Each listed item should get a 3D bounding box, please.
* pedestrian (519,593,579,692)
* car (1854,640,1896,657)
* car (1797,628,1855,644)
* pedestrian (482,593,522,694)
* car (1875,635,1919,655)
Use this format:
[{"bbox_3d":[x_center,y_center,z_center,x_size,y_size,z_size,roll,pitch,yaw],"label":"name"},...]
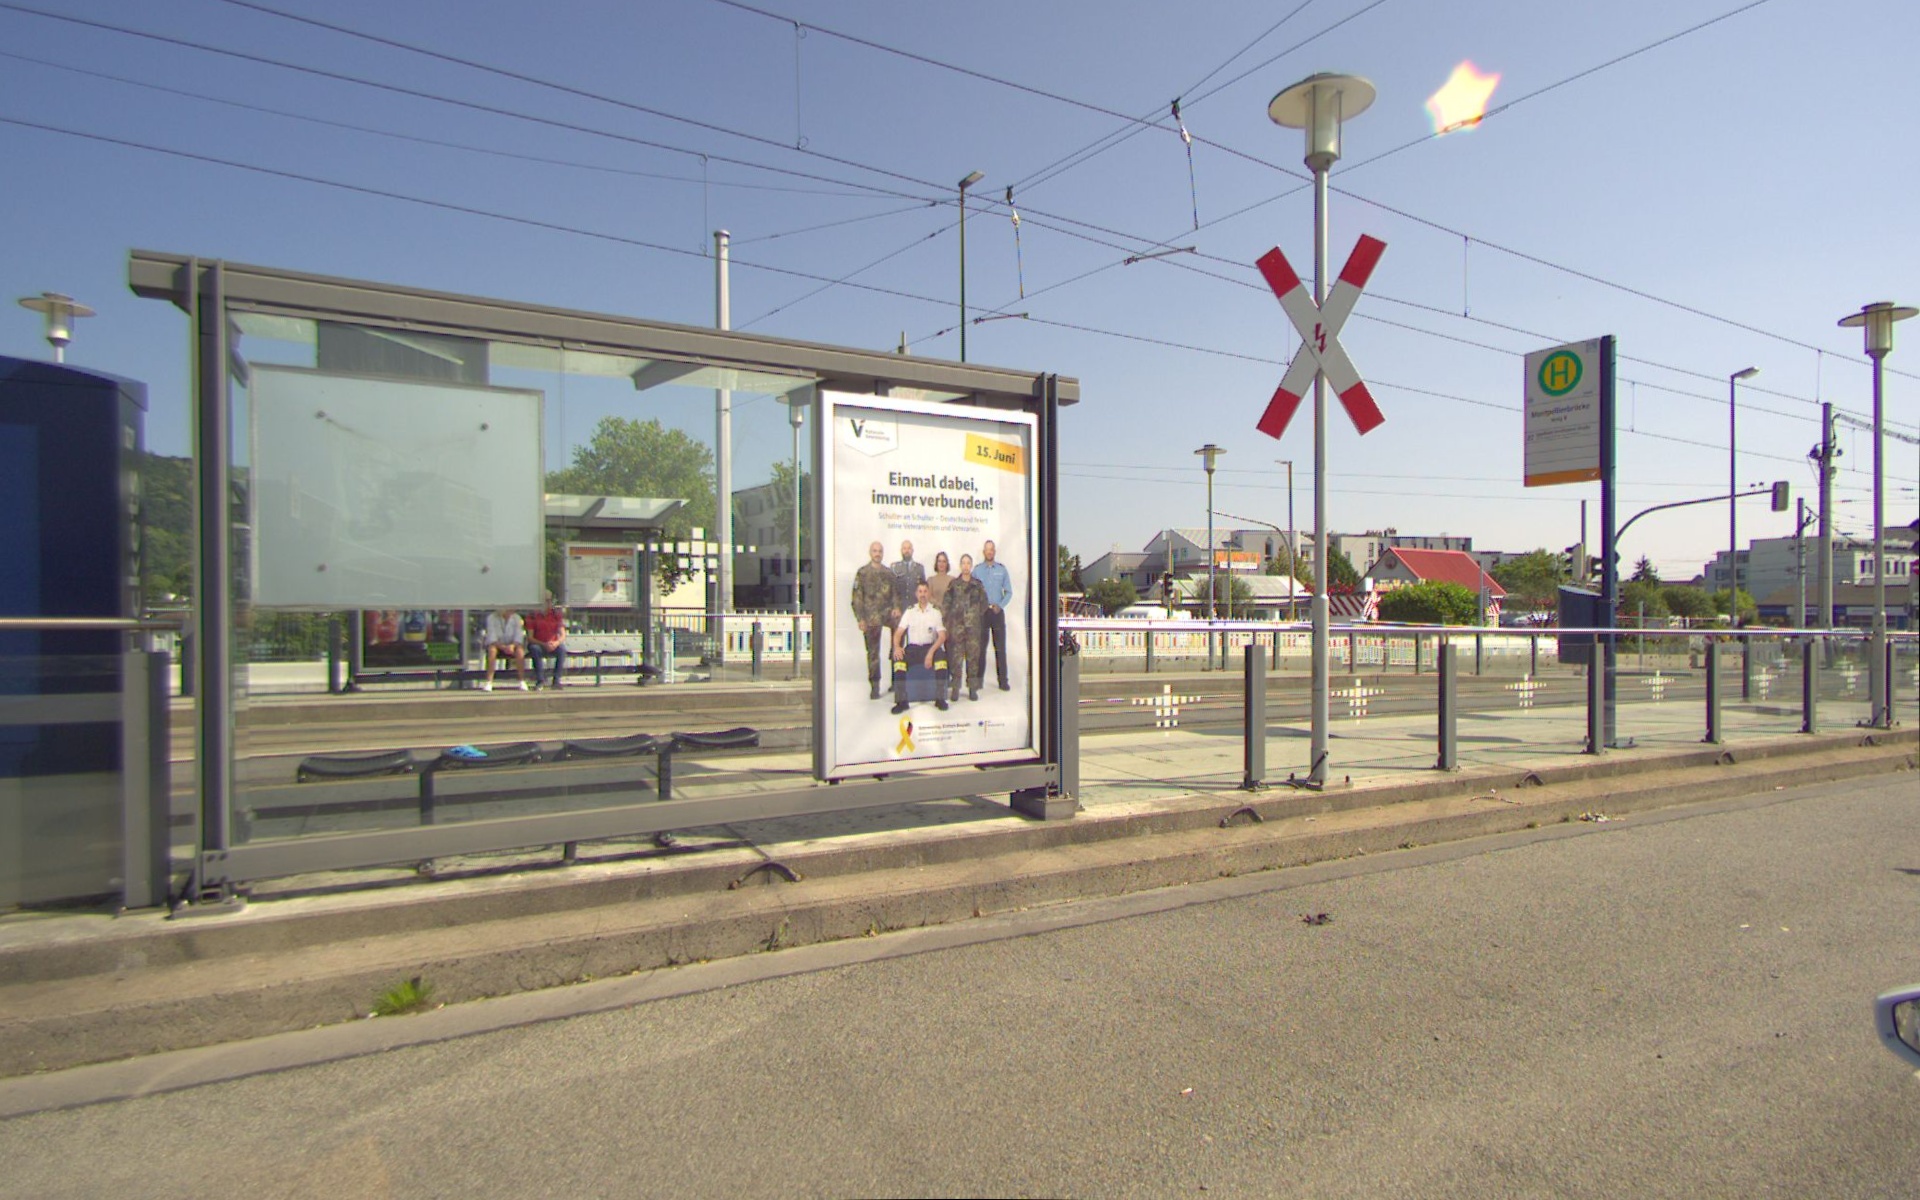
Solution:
[{"bbox_3d":[-5.527,0.557,13.507,0.688,1.291,0.645,1,0,-28],"label":"pedestrian"},{"bbox_3d":[84.712,4.442,92.970,3.952,1.558,1.769,1,-2,-30],"label":"car"},{"bbox_3d":[85.200,3.588,98.859,3.921,1.558,1.784,-1,-2,18],"label":"car"},{"bbox_3d":[-6.038,0.557,13.227,0.447,1.291,0.645,0,0,-27],"label":"pedestrian"},{"bbox_3d":[76.214,3.639,81.483,3.952,1.558,1.769,1,-2,-30],"label":"car"}]
